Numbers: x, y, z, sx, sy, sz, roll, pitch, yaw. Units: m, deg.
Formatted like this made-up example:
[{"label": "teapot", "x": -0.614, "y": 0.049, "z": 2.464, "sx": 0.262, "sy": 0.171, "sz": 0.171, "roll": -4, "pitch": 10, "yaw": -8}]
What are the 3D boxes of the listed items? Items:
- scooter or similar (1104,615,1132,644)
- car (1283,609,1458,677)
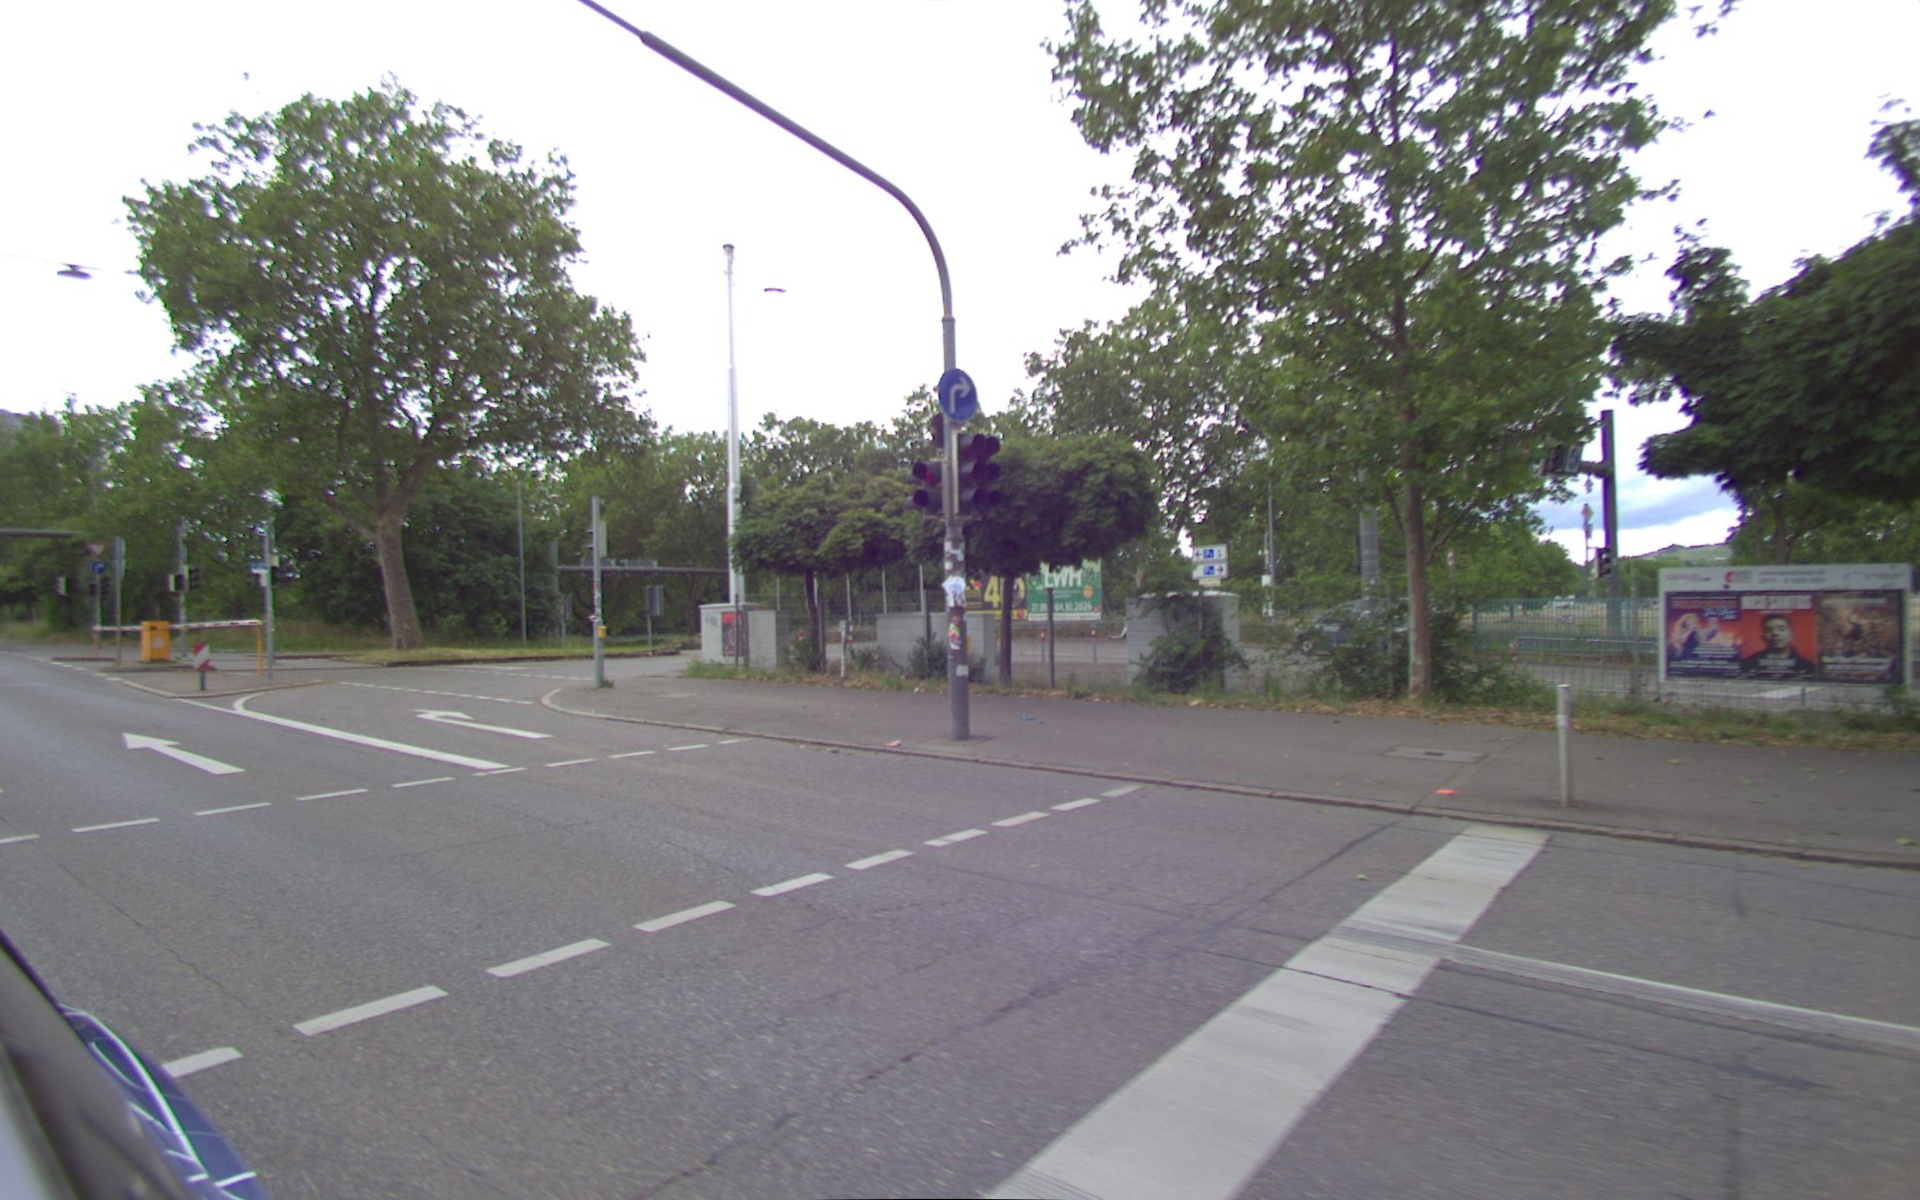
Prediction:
[{"label": "scooter or similar", "x": 6.848, "y": 1.269, "z": 43.814, "sx": 0.409, "sy": 1.230, "sz": 1.222, "roll": -1, "pitch": 0, "yaw": -39}, {"label": "car", "x": 12.403, "y": 1.248, "z": 30.858, "sx": 1.857, "sy": 1.849, "sz": 4.603, "roll": -2, "pitch": 1, "yaw": -37}]
